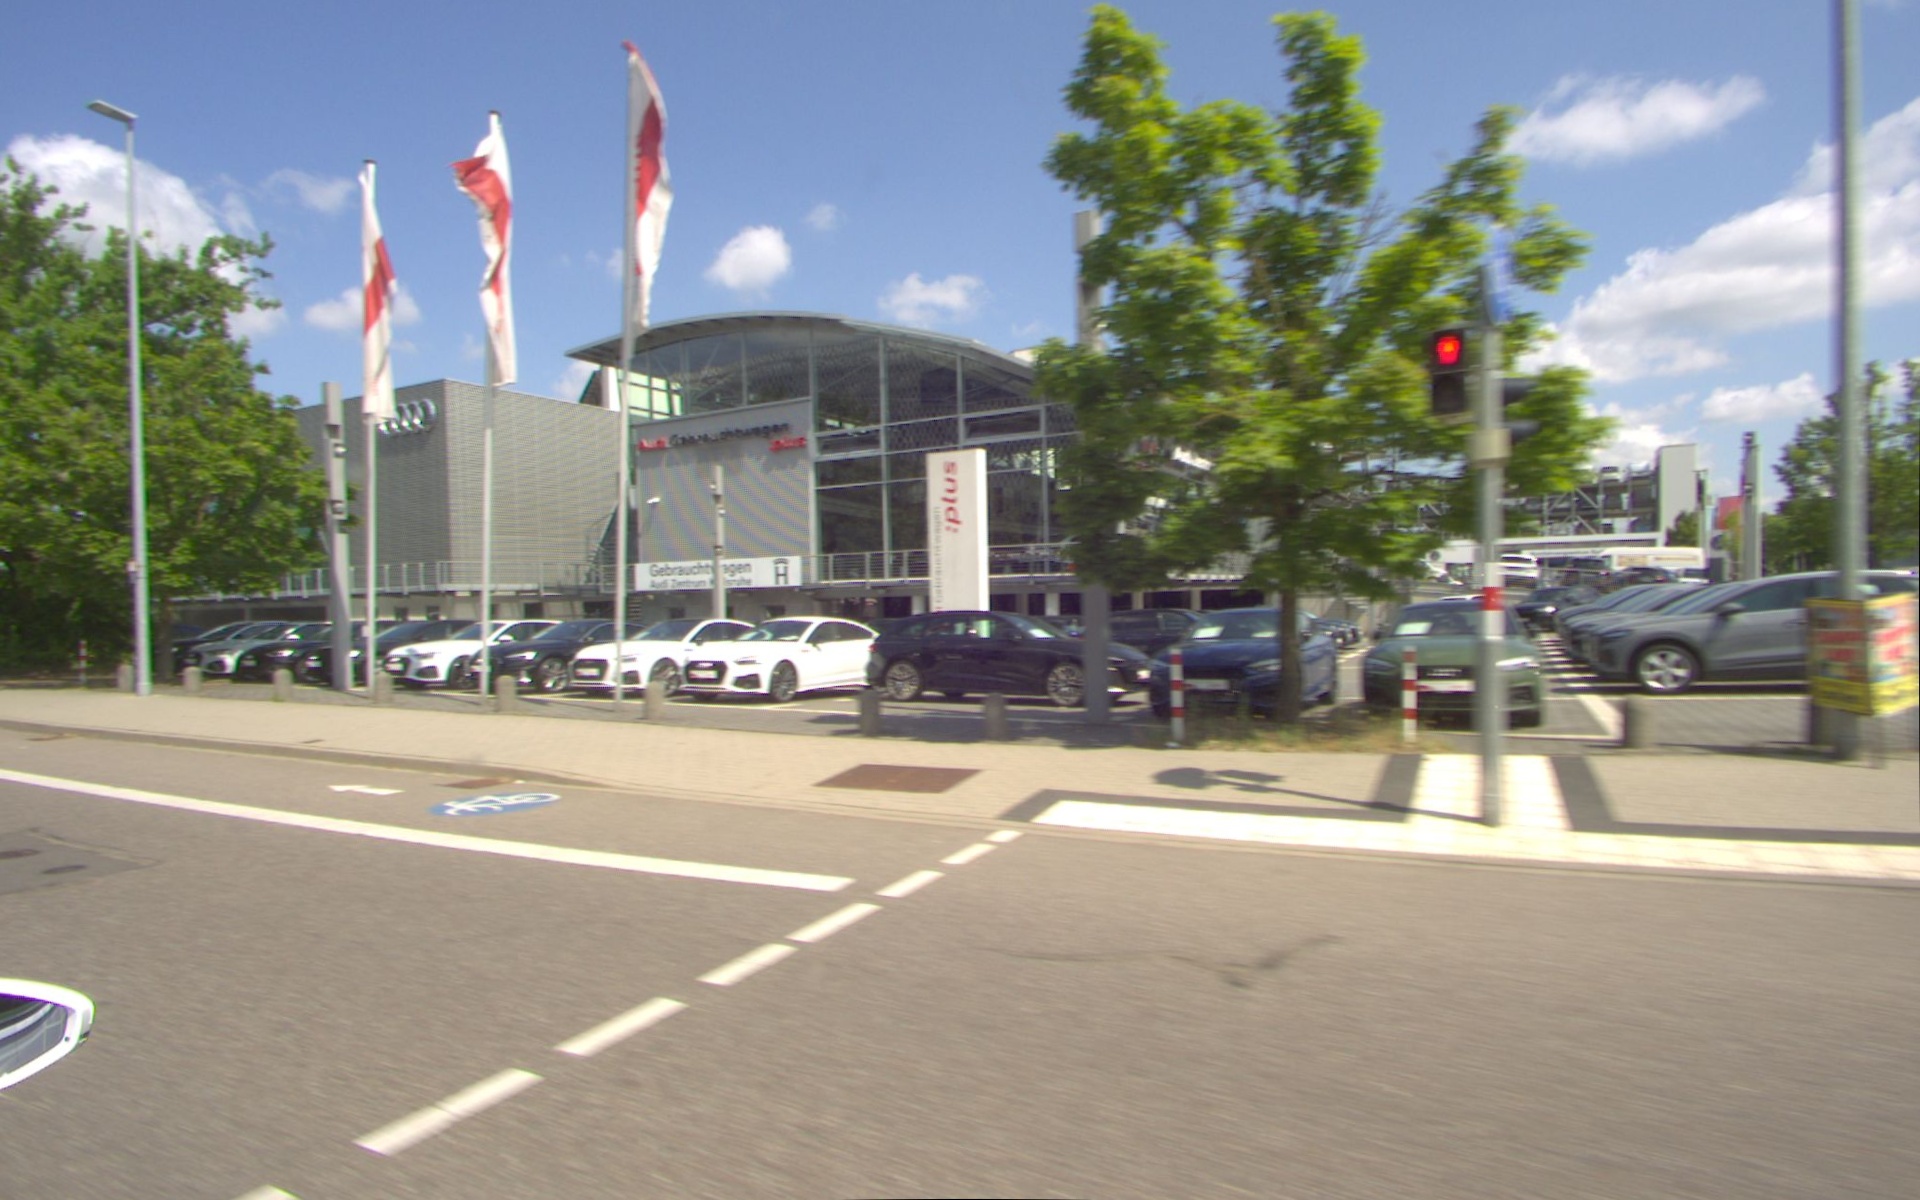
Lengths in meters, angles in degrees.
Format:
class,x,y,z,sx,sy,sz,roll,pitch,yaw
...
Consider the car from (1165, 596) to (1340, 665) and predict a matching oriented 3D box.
class,x,y,z,sx,sy,sz,roll,pitch,yaw
car,8.303,0.807,28.480,4.481,1.764,1.992,1,1,28

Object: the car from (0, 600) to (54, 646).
class,x,y,z,sx,sy,sz,roll,pitch,yaw
car,-37.601,0.873,37.902,1.878,1.700,4.570,1,0,29

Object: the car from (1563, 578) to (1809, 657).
class,x,y,z,sx,sy,sz,roll,pitch,yaw
car,16.947,0.363,23.725,4.522,1.700,1.898,1,1,31

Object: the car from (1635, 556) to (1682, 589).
class,x,y,z,sx,sy,sz,roll,pitch,yaw
car,35.227,-1.371,50.570,1.542,1.573,3.587,1,0,29

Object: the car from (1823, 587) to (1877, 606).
class,x,y,z,sx,sy,sz,roll,pitch,yaw
car,96.071,-0.393,108.164,3.935,2.040,1.993,1,1,26

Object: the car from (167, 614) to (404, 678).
class,x,y,z,sx,sy,sz,roll,pitch,yaw
car,-16.876,1.179,25.321,1.878,1.422,4.573,1,-2,29

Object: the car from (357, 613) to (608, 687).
class,x,y,z,sx,sy,sz,roll,pitch,yaw
car,-9.909,0.969,21.186,1.878,1.315,4.570,1,0,29

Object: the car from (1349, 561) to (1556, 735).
class,x,y,z,sx,sy,sz,roll,pitch,yaw
car,6.115,0.470,12.282,1.878,1.700,4.570,1,0,29

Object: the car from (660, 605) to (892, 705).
class,x,y,z,sx,sy,sz,roll,pitch,yaw
car,-2.991,0.919,17.087,1.769,1.482,3.985,-1,-3,29

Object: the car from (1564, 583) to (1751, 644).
class,x,y,z,sx,sy,sz,roll,pitch,yaw
car,21.085,0.380,30.541,4.522,1.700,1.898,1,1,31

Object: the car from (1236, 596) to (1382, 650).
class,x,y,z,sx,sy,sz,roll,pitch,yaw
car,12.210,0.761,35.120,4.522,1.700,1.898,1,1,31

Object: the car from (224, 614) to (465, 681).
class,x,y,z,sx,sy,sz,roll,pitch,yaw
car,-14.516,1.103,23.912,1.878,1.401,4.572,1,-1,29

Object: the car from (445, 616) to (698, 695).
class,x,y,z,sx,sy,sz,roll,pitch,yaw
car,-7.546,1.006,19.956,1.878,1.315,4.570,1,0,29

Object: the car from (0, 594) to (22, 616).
class,x,y,z,sx,sy,sz,roll,pitch,yaw
car,-78.695,0.397,80.626,1.908,1.798,4.346,1,0,32

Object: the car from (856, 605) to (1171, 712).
class,x,y,z,sx,sy,sz,roll,pitch,yaw
car,0.795,0.889,15.834,4.684,1.482,1.789,-1,-3,29

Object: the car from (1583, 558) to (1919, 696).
class,x,y,z,sx,sy,sz,roll,pitch,yaw
car,11.578,0.409,14.203,4.526,1.699,1.898,-4,-2,31

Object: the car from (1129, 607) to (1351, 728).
class,x,y,z,sx,sy,sz,roll,pitch,yaw
car,3.980,0.775,13.627,1.878,1.315,4.570,1,0,29

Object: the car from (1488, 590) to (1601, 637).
class,x,y,z,sx,sy,sz,roll,pitch,yaw
car,22.678,0.513,38.820,4.527,1.700,1.895,1,1,-32

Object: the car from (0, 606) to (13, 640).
class,x,y,z,sx,sy,sz,roll,pitch,yaw
car,-41.788,0.952,40.642,1.878,1.423,4.570,1,0,29

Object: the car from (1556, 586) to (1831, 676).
class,x,y,z,sx,sy,sz,roll,pitch,yaw
car,15.354,0.586,21.345,4.522,1.700,1.898,1,1,31

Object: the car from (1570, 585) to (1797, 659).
class,x,y,z,sx,sy,sz,roll,pitch,yaw
car,18.394,0.510,25.774,4.522,1.700,1.898,1,1,31

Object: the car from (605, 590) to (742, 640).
class,x,y,z,sx,sy,sz,roll,pitch,yaw
car,-9.498,0.466,33.505,1.878,1.518,4.340,-1,0,29

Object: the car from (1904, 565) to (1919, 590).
class,x,y,z,sx,sy,sz,roll,pitch,yaw
car,82.985,-1.860,83.147,6.269,2.040,2.559,1,1,33

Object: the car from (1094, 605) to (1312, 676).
class,x,y,z,sx,sy,sz,roll,pitch,yaw
car,5.716,0.952,23.658,4.684,1.529,1.978,-1,-3,29

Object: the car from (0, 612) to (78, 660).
class,x,y,z,sx,sy,sz,roll,pitch,yaw
car,-35.569,1.318,36.678,1.878,1.700,4.570,1,0,29

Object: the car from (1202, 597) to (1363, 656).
class,x,y,z,sx,sy,sz,roll,pitch,yaw
car,10.163,0.790,31.674,4.522,1.700,1.898,1,1,31

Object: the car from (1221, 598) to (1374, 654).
class,x,y,z,sx,sy,sz,roll,pitch,yaw
car,11.212,0.810,33.379,4.522,1.700,1.898,1,1,31

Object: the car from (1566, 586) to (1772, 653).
class,x,y,z,sx,sy,sz,roll,pitch,yaw
car,19.639,0.492,28.037,4.522,1.700,1.898,1,1,31

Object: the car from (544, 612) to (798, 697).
class,x,y,z,sx,sy,sz,roll,pitch,yaw
car,-5.190,0.912,18.644,1.878,1.315,4.570,1,0,29

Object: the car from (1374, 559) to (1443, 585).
class,x,y,z,sx,sy,sz,roll,pitch,yaw
car,28.482,-1.809,63.757,3.932,1.573,1.760,1,1,23

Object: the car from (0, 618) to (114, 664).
class,x,y,z,sx,sy,sz,roll,pitch,yaw
car,-33.168,1.446,35.419,1.878,1.518,4.568,-1,0,29

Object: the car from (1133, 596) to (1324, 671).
class,x,y,z,sx,sy,sz,roll,pitch,yaw
car,7.028,0.817,26.268,4.481,1.764,1.992,1,1,28

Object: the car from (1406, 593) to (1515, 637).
class,x,y,z,sx,sy,sz,roll,pitch,yaw
car,20.334,0.593,40.656,4.527,1.700,1.895,1,1,-32

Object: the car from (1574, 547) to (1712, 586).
class,x,y,z,sx,sy,sz,roll,pitch,yaw
car,38.767,-1.889,57.068,6.310,2.130,1.757,1,1,30

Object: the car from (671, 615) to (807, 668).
class,x,y,z,sx,sy,sz,roll,pitch,yaw
car,-7.074,1.289,32.450,1.878,1.518,4.340,-1,0,29

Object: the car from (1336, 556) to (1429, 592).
class,x,y,z,sx,sy,sz,roll,pitch,yaw
car,22.507,-1.373,53.393,4.387,1.825,1.757,1,1,29

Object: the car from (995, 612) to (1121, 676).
class,x,y,z,sx,sy,sz,roll,pitch,yaw
car,2.789,1.147,27.639,1.878,1.518,4.340,-1,0,29

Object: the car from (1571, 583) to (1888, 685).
class,x,y,z,sx,sy,sz,roll,pitch,yaw
car,14.296,0.566,19.023,4.522,1.700,1.898,1,1,31

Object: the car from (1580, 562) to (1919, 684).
class,x,y,z,sx,sy,sz,roll,pitch,yaw
car,12.966,0.427,16.540,4.526,1.699,1.898,-4,-2,31

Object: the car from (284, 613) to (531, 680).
class,x,y,z,sx,sy,sz,roll,pitch,yaw
car,-12.340,1.078,22.706,1.878,1.313,4.574,1,-3,29

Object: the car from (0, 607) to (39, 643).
class,x,y,z,sx,sy,sz,roll,pitch,yaw
car,-39.541,0.994,39.389,1.878,1.423,4.570,1,0,29

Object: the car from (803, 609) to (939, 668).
class,x,y,z,sx,sy,sz,roll,pitch,yaw
car,-2.545,1.083,29.646,1.878,1.518,4.340,-1,0,29

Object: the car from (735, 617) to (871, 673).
class,x,y,z,sx,sy,sz,roll,pitch,yaw
car,-4.753,1.333,31.007,1.878,1.518,4.340,-1,0,29

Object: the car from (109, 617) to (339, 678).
class,x,y,z,sx,sy,sz,roll,pitch,yaw
car,-19.402,1.209,26.625,1.878,1.423,4.571,1,-1,29
